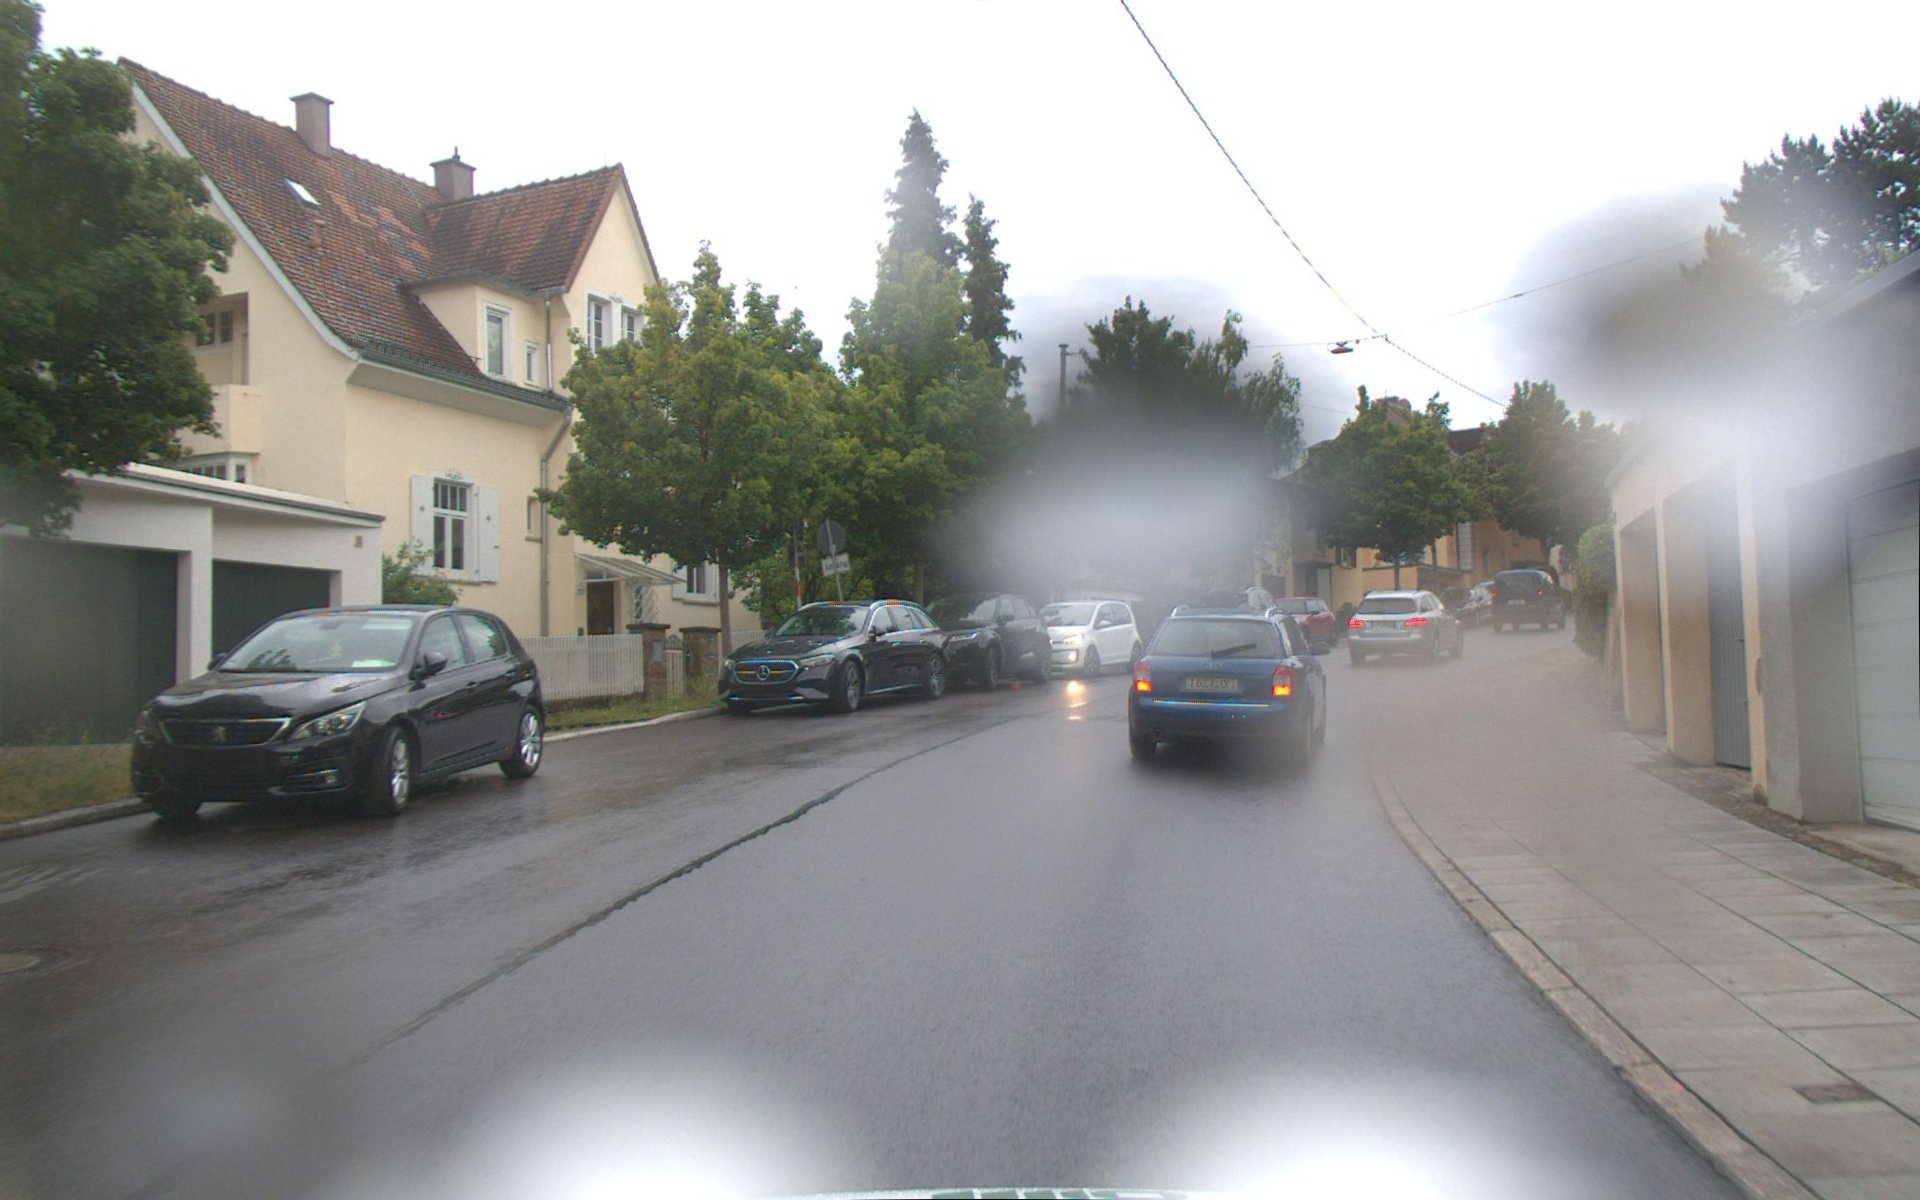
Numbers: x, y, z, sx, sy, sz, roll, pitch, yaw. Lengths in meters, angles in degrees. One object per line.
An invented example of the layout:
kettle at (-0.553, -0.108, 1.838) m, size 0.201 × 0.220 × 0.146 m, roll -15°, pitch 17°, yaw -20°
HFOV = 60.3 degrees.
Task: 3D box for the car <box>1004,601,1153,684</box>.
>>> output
car at (2.436, 0.814, 33.069) m, size 1.699 × 1.492 × 3.998 m, roll -1°, pitch 0°, yaw 24°

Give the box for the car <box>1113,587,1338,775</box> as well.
car at (2.789, 0.722, 16.666) m, size 1.697 × 1.492 × 4.004 m, roll -2°, pitch 2°, yaw 16°

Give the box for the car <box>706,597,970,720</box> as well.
car at (-1.602, 0.766, 23.860) m, size 1.828 × 1.572 × 4.904 m, roll -1°, pitch 0°, yaw 22°

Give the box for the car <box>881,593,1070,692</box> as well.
car at (0.361, 0.682, 28.471) m, size 1.699 × 1.572 × 4.208 m, roll -1°, pitch 0°, yaw 24°

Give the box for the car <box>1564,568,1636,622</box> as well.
car at (24.383, -0.222, 62.923) m, size 1.703 × 1.799 × 4.224 m, roll -1°, pitch 3°, yaw 33°

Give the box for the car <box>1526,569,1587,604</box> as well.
car at (29.045, -0.682, 80.456) m, size 1.737 × 1.461 × 4.334 m, roll -5°, pitch -2°, yaw 34°

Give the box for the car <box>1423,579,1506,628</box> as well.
car at (18.701, 0.102, 61.169) m, size 1.736 × 1.561 × 4.595 m, roll -5°, pitch -1°, yaw 31°

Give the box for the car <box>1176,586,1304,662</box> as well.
car at (7.091, 0.565, 41.533) m, size 1.766 × 1.698 × 4.419 m, roll -4°, pitch -1°, yaw 28°

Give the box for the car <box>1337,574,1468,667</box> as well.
car at (9.397, 0.391, 34.914) m, size 1.936 × 1.663 × 4.234 m, roll -1°, pitch 2°, yaw 25°

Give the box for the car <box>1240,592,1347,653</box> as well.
car at (9.190, 0.596, 45.384) m, size 1.651 × 1.497 × 3.857 m, roll -4°, pitch -1°, yaw 30°

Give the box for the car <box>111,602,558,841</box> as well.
car at (-4.520, 0.795, 12.618) m, size 1.635 × 1.491 × 3.897 m, roll -2°, pitch 0°, yaw 5°

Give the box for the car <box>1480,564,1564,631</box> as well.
car at (17.279, -0.117, 50.731) m, size 1.701 × 1.799 × 4.229 m, roll -1°, pitch 2°, yaw 29°
